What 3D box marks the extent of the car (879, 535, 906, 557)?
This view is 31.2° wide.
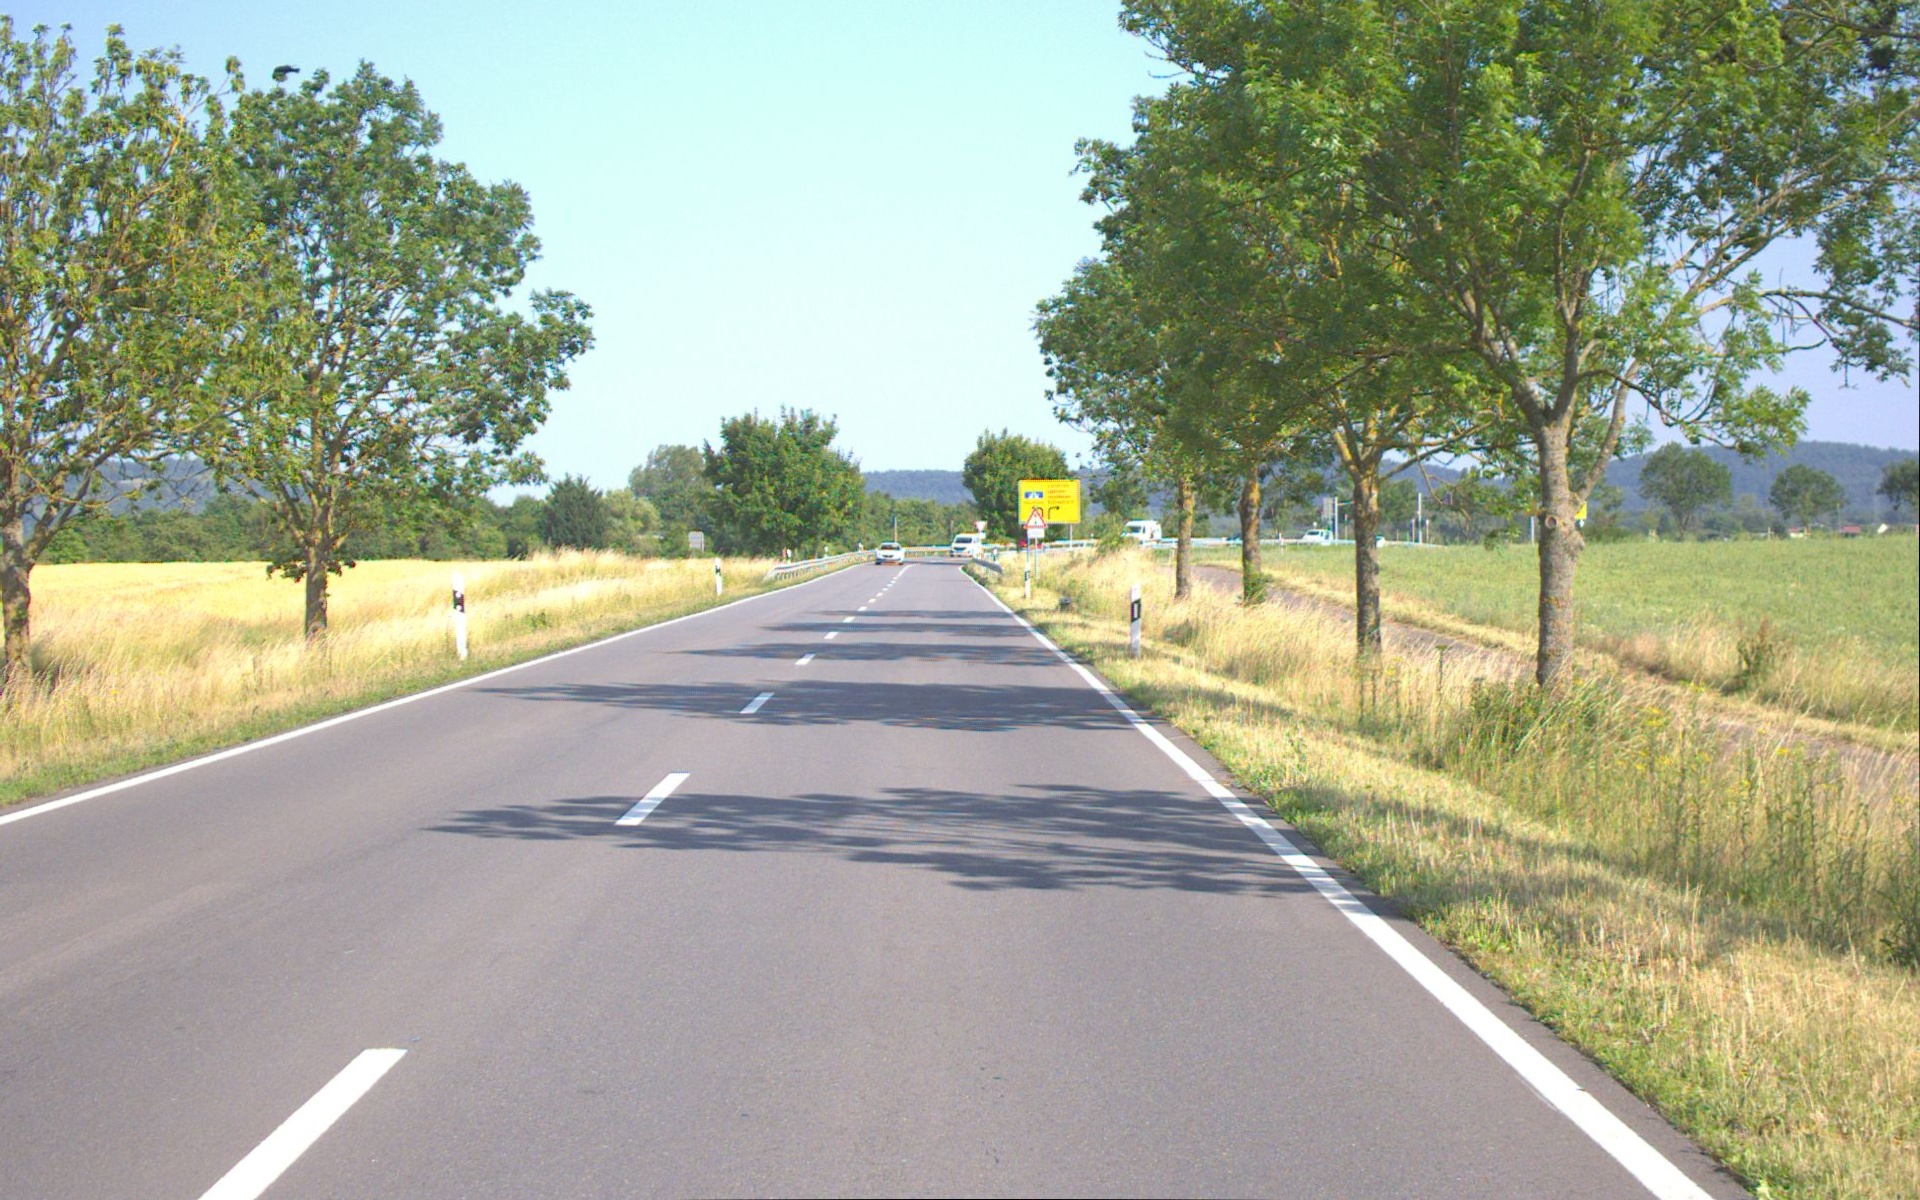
[{"bbox_3d":[-4.472,-3.546,226.315,1.726,1.432,4.517,0,1,-2],"label":"car"}]
